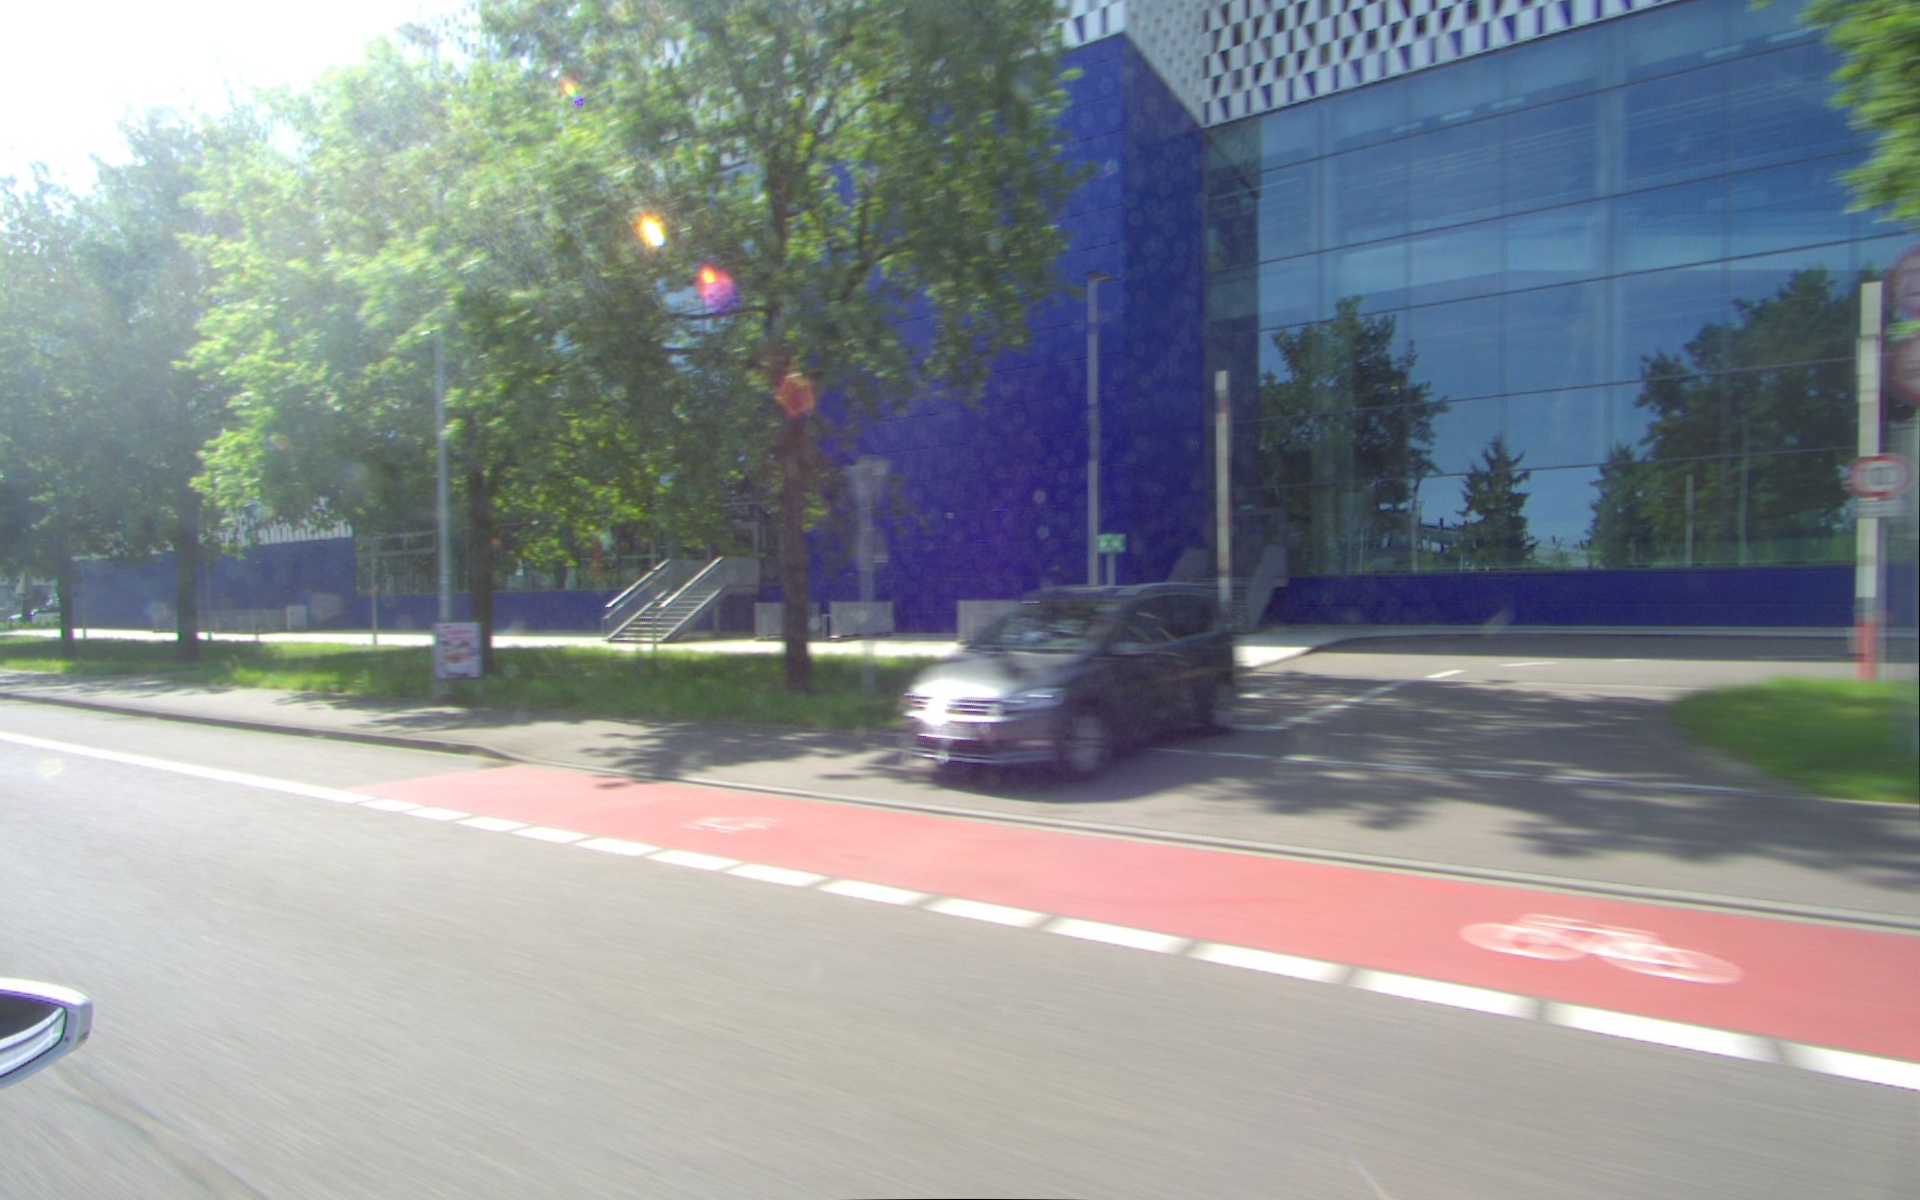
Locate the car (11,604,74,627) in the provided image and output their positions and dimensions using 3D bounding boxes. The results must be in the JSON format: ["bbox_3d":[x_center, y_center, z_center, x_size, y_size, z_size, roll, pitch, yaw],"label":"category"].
[{"bbox_3d":[-93.519,1.540,102.111,1.462,2.022,4.384,0,3,36],"label":"car"}]

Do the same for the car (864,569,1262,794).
[{"bbox_3d":[1.258,0.584,9.967,1.822,1.716,4.424,0,1,39],"label":"car"}]
